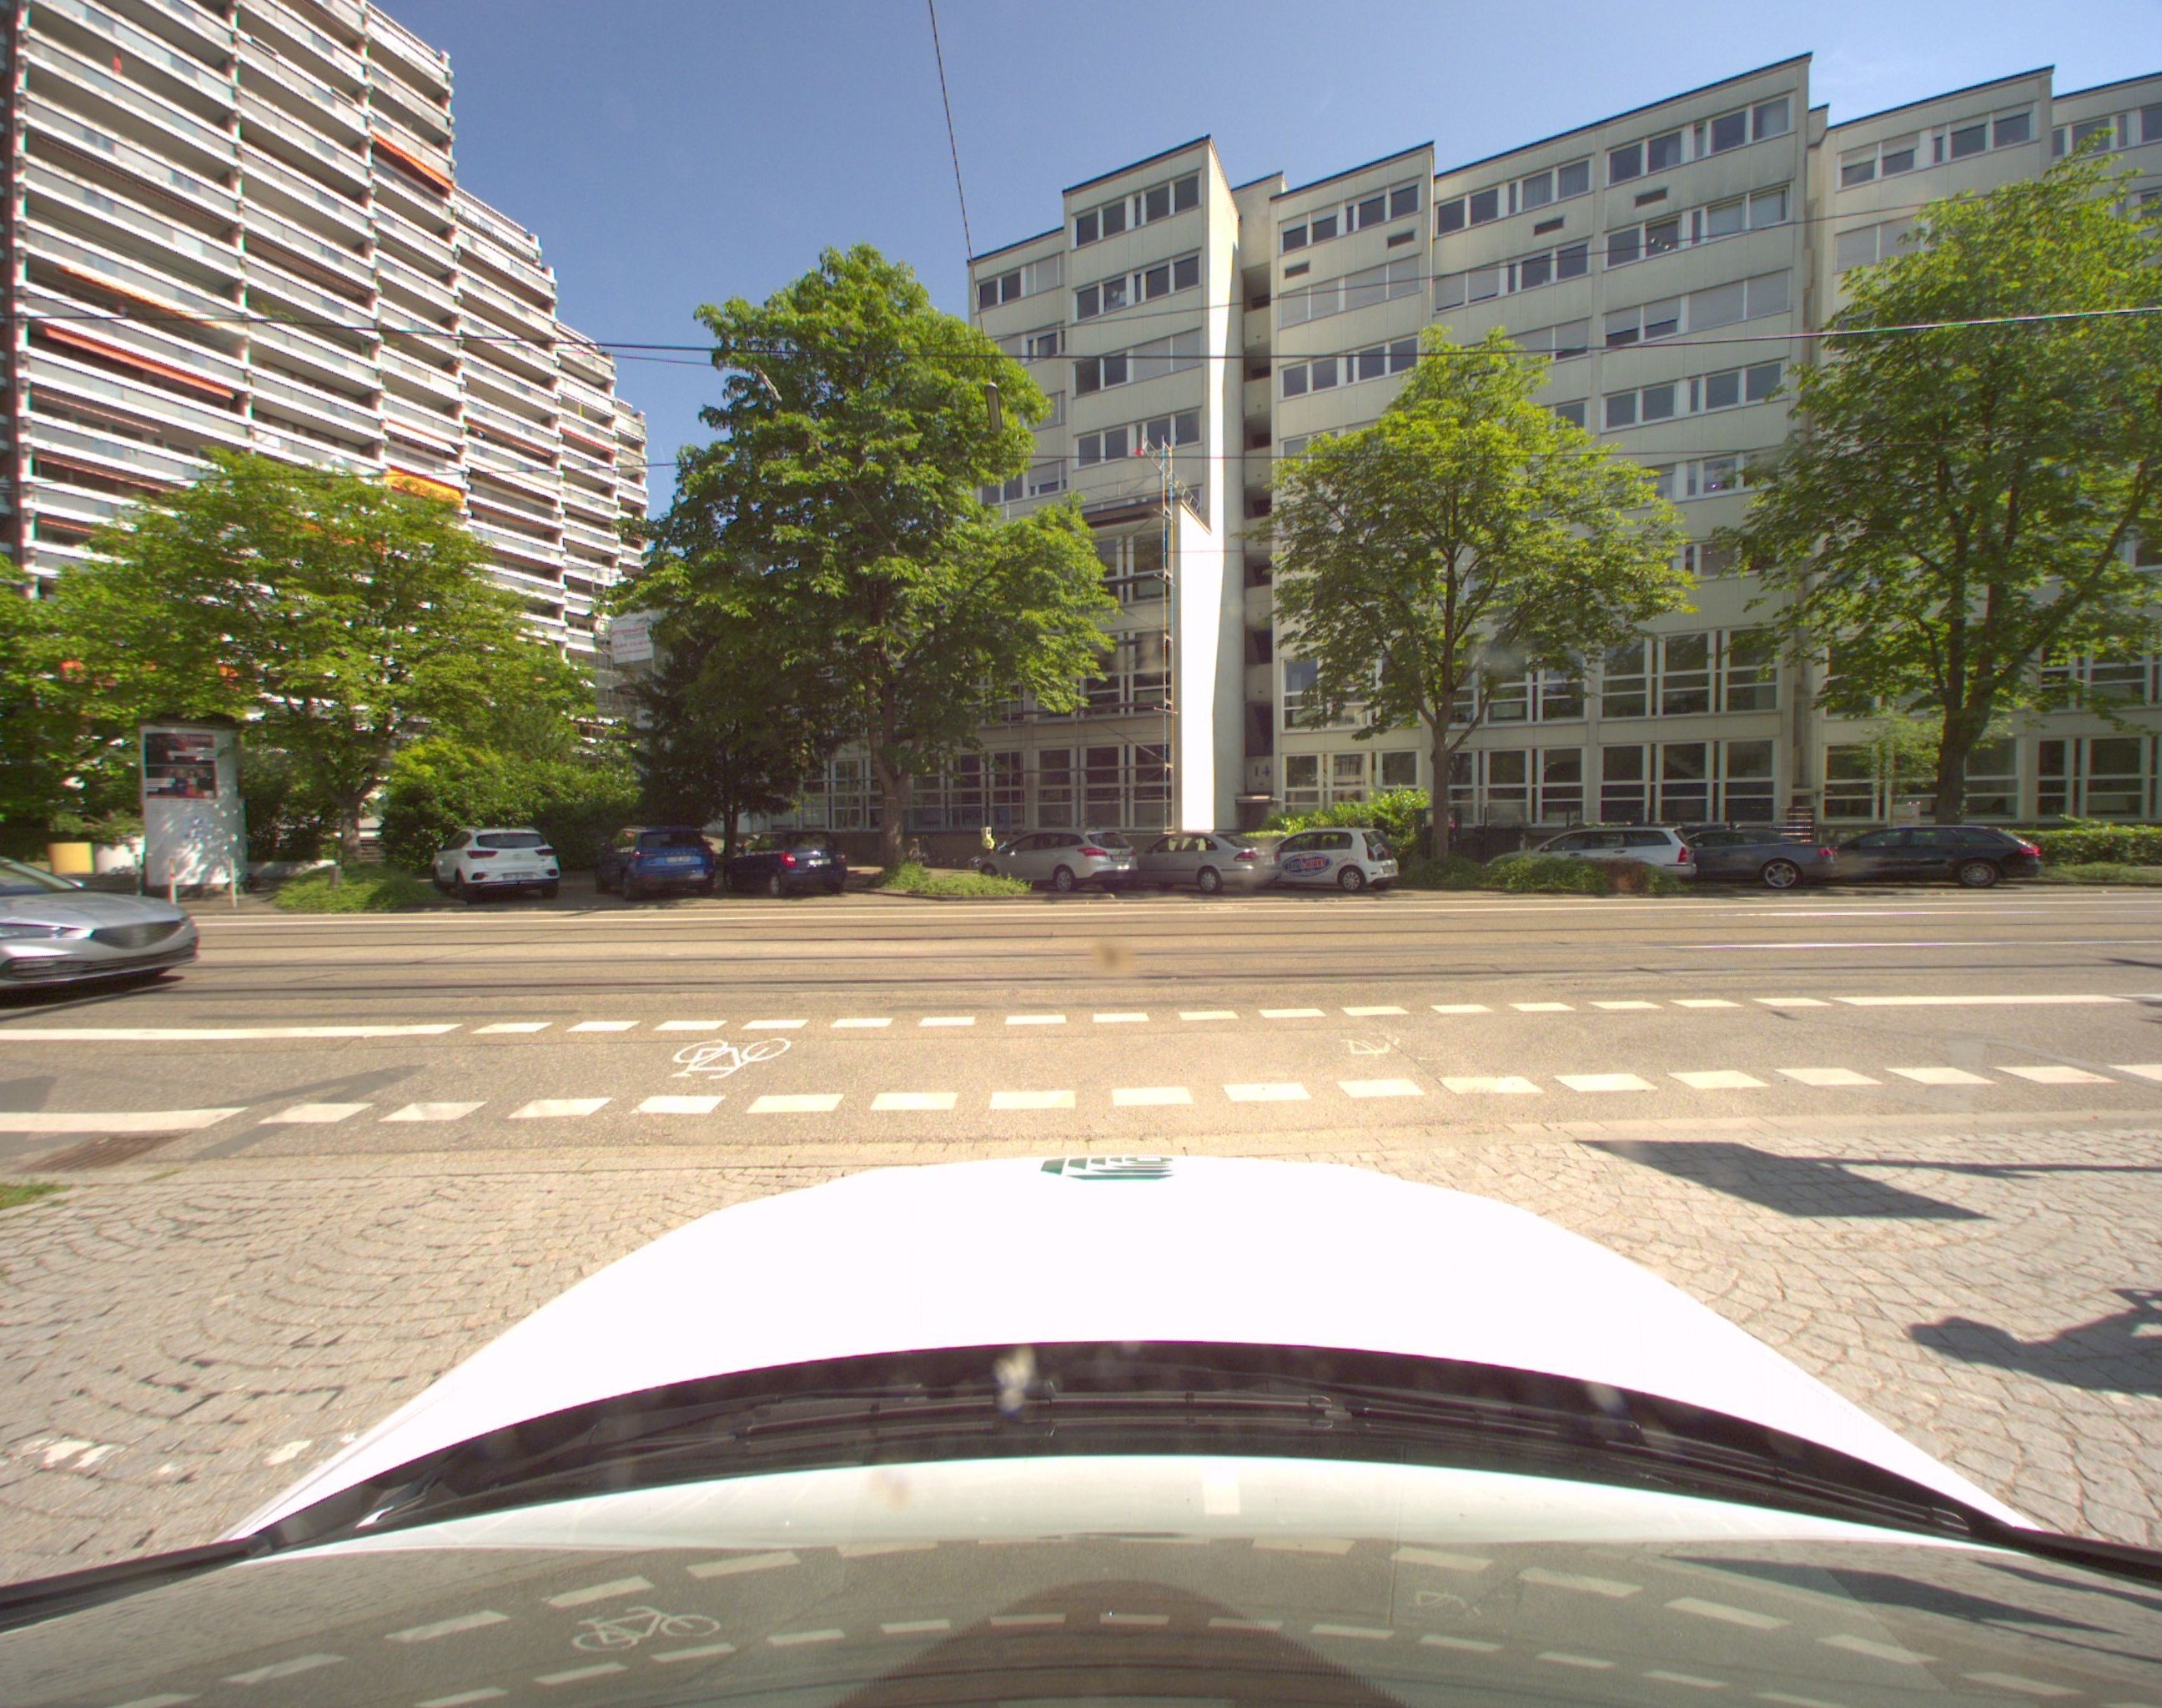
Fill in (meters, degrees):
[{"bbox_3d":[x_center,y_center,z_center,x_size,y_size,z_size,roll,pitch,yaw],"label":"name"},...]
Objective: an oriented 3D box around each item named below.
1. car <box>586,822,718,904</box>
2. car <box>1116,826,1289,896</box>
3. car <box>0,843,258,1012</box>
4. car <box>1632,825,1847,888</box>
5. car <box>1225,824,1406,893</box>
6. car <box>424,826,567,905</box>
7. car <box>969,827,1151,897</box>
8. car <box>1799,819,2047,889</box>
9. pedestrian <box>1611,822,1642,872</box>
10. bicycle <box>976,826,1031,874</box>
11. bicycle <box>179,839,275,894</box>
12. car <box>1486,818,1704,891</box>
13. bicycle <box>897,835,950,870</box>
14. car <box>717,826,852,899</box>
[{"bbox_3d":[-10.027,0.117,18.896,1.790,1.622,3.899,-3,4,-42],"label":"car"},{"bbox_3d":[2.804,0.095,19.385,1.622,1.486,3.897,-2,2,-44],"label":"car"},{"bbox_3d":[-11.403,0.660,7.971,4.566,1.407,1.892,-1,3,-2],"label":"car"},{"bbox_3d":[15.705,0.006,19.556,3.896,1.357,1.568,1,2,44],"label":"car"},{"bbox_3d":[5.588,0.082,19.690,1.623,1.486,3.896,-2,2,-45],"label":"car"},{"bbox_3d":[-13.446,0.187,18.628,3.895,1.606,1.831,1,2,42],"label":"car"},{"bbox_3d":[-0.602,0.119,19.583,4.380,1.486,1.795,1,2,44],"label":"car"},{"bbox_3d":[19.434,-0.048,19.050,3.896,1.486,1.568,1,2,44],"label":"car"},{"bbox_3d":[15.985,-0.209,23.876,0.618,1.460,0.424,-1,1,-4],"label":"pedestrian"},{"bbox_3d":[-2.456,-0.151,26.097,0.655,1.453,2.103,0,2,30],"label":"bicycle"},{"bbox_3d":[-20.985,0.301,20.027,1.614,1.308,0.546,-1,1,-7],"label":"bicycle"},{"bbox_3d":[12.363,-0.029,19.777,4.289,1.604,1.568,1,1,41],"label":"car"},{"bbox_3d":[-5.183,-0.082,26.961,0.735,1.085,2.214,0,2,18],"label":"bicycle"},{"bbox_3d":[-6.963,0.138,18.969,3.415,1.530,1.586,1,2,44],"label":"car"}]
